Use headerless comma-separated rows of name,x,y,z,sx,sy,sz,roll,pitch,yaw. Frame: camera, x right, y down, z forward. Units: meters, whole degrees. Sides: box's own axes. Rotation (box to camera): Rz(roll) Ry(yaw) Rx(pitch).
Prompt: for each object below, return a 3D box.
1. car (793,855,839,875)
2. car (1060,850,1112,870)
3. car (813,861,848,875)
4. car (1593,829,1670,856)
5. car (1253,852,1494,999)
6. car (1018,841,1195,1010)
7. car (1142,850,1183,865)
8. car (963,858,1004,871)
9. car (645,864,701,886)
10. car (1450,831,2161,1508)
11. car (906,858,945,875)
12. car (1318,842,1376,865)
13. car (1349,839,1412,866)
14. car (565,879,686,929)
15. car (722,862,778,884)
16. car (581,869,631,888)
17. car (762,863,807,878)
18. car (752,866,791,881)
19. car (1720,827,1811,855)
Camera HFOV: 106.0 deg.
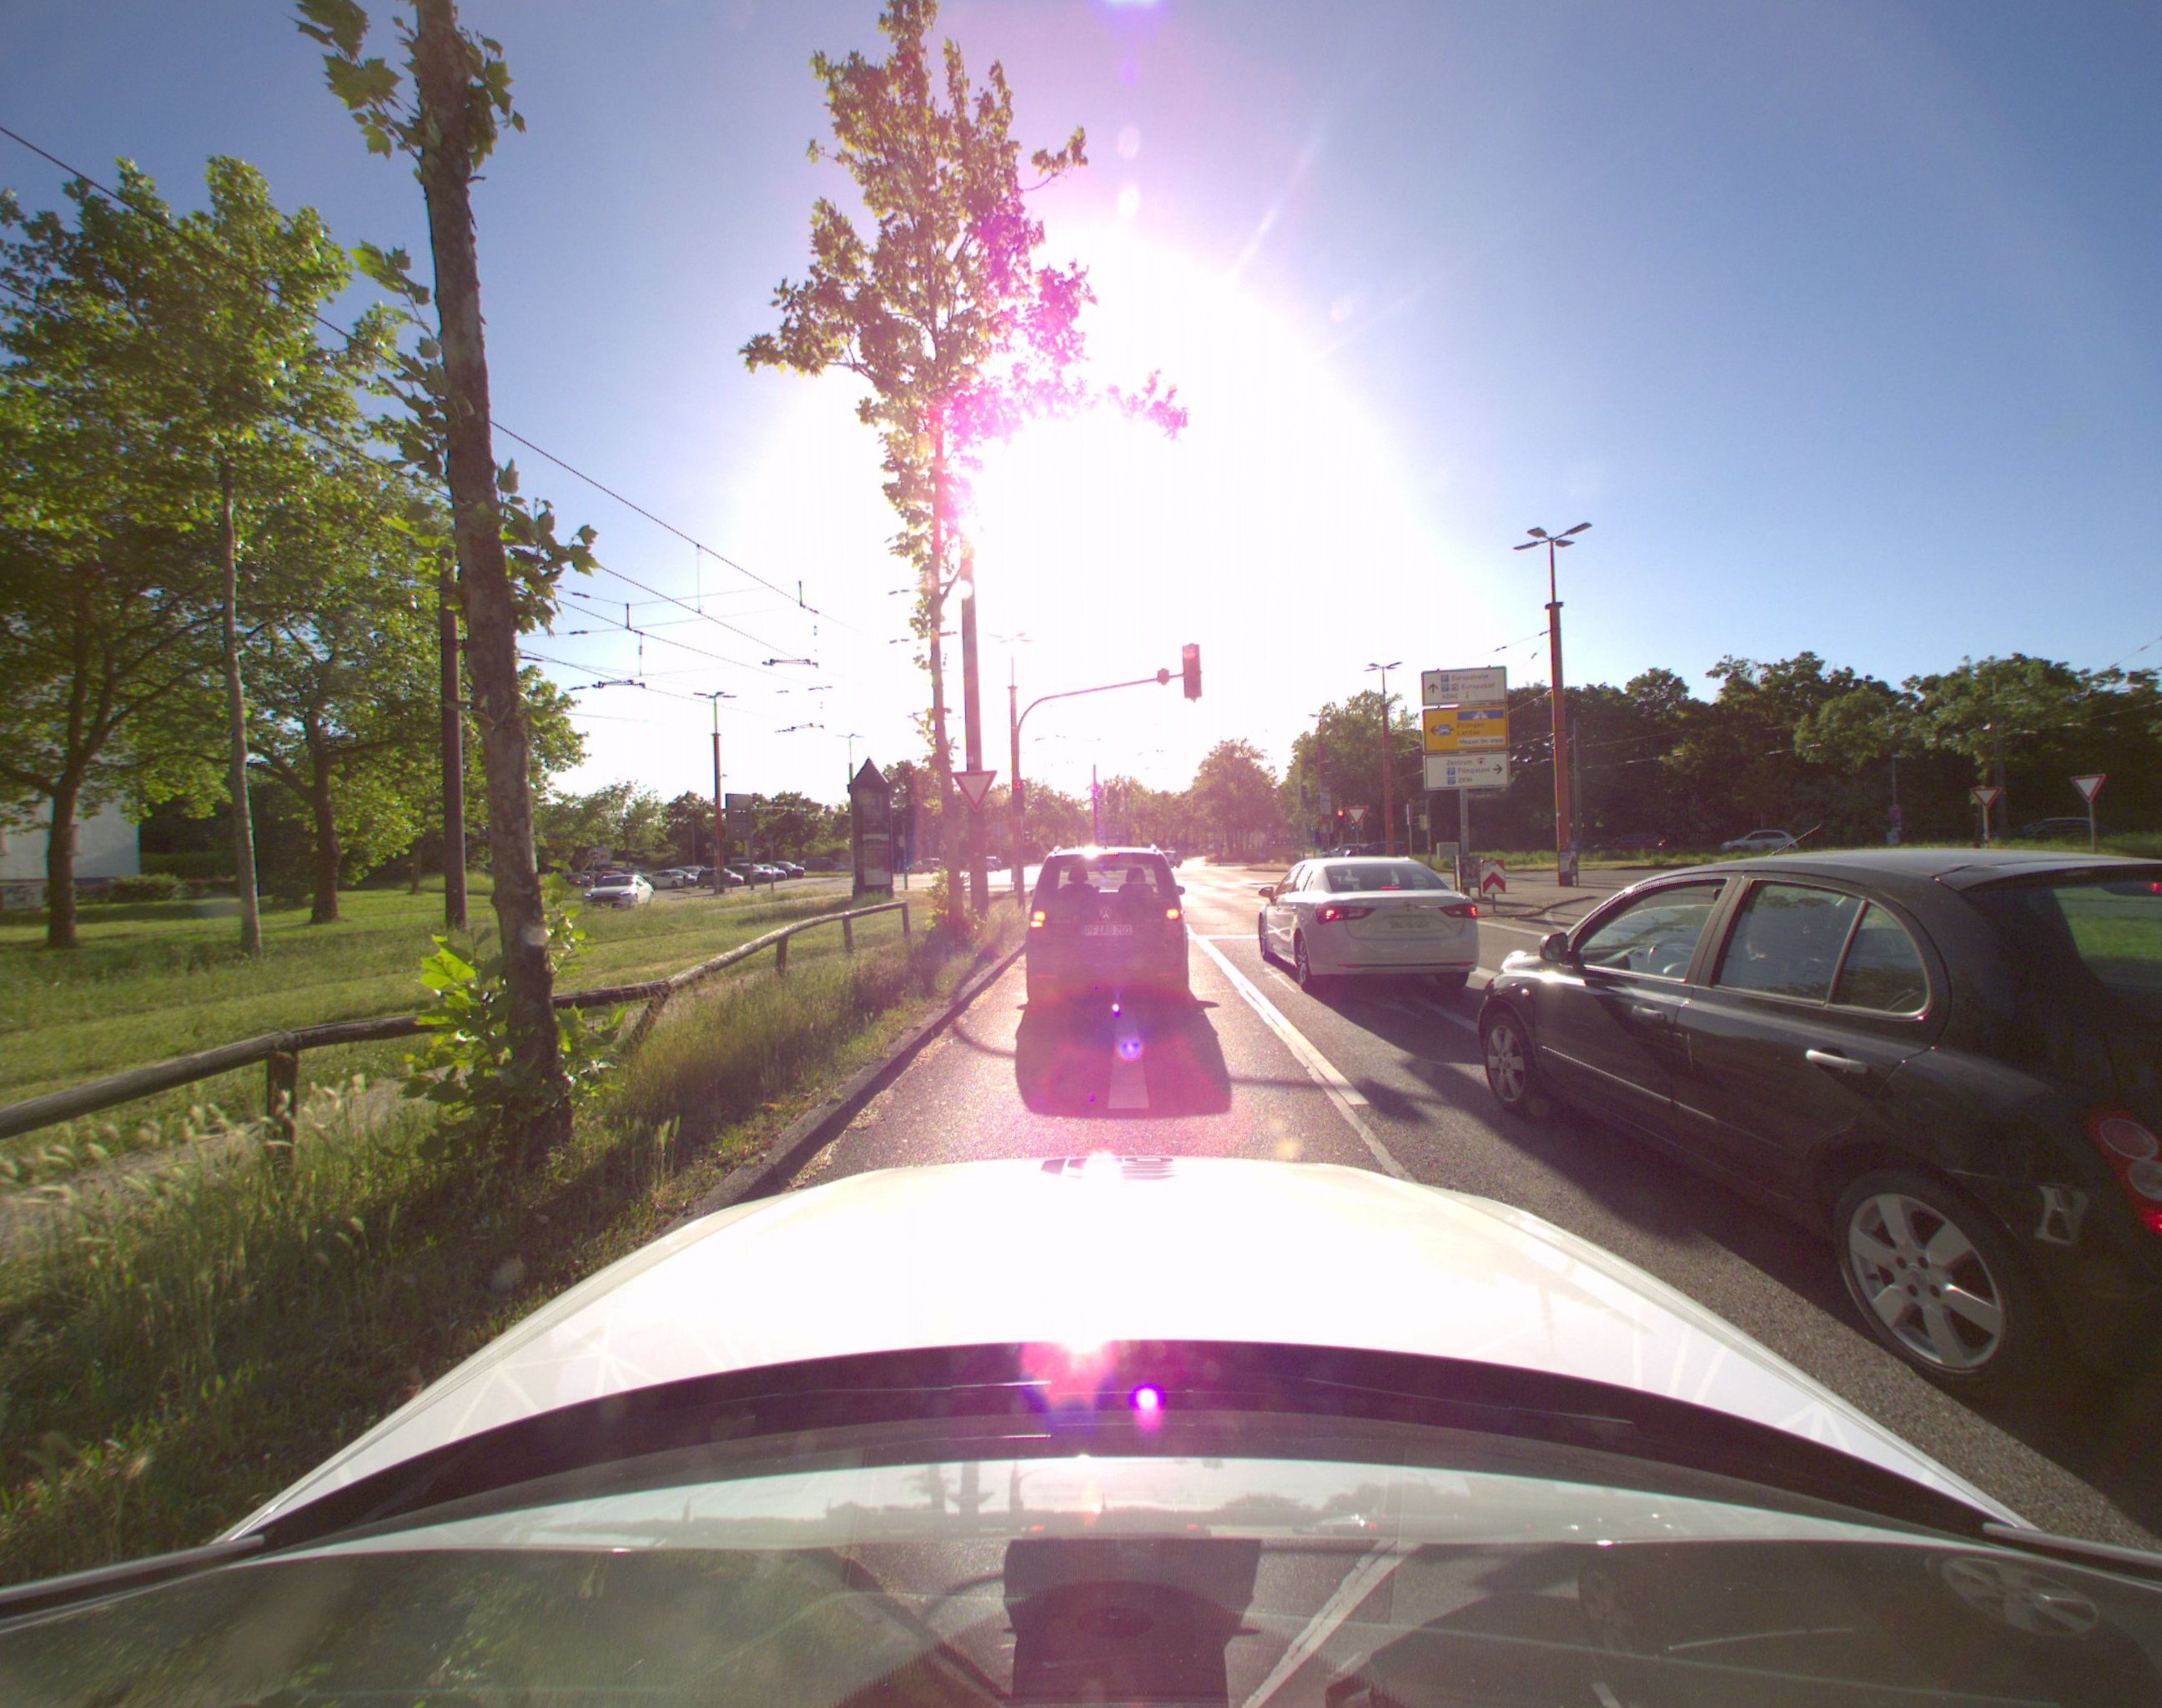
car,-28.427,1.162,87.407,4.528,2.013,2.012,-2,0,26
car,0.432,0.524,71.663,3.987,1.596,2.012,-2,0,25
car,-28.251,1.574,91.749,3.700,1.473,1.610,-2,0,28
car,37.343,-0.745,55.371,4.249,1.705,1.858,-2,0,31
car,3.328,0.710,10.157,1.713,1.438,4.202,-1,0,3
car,0.300,0.702,9.951,1.694,1.621,3.898,-2,0,1
car,7.202,0.321,72.072,3.403,1.368,1.298,0,-1,28
car,-9.734,1.083,81.313,3.792,1.264,1.613,0,-1,28
car,-32.376,1.678,64.641,4.135,1.612,1.880,-2,0,27
car,3.213,0.692,3.597,1.647,1.500,3.617,-1,0,2
car,-14.971,1.212,78.477,3.363,1.457,1.473,-2,0,25
car,21.035,-0.025,64.401,4.190,1.681,1.713,-2,0,25
car,22.207,-0.109,60.373,4.154,1.883,1.777,-2,0,25
car,-18.866,2.022,34.052,1.984,1.731,4.852,-1,0,5
car,-26.554,1.543,65.417,3.950,1.644,2.012,-2,0,26
car,-40.002,2.047,68.568,3.949,1.513,1.743,-2,0,27
car,-26.525,1.481,72.860,3.948,1.330,1.709,-2,0,33
car,-26.336,1.638,69.290,3.129,1.198,1.539,-2,0,33
car,41.307,-0.761,49.275,3.961,1.527,1.718,-2,0,30
